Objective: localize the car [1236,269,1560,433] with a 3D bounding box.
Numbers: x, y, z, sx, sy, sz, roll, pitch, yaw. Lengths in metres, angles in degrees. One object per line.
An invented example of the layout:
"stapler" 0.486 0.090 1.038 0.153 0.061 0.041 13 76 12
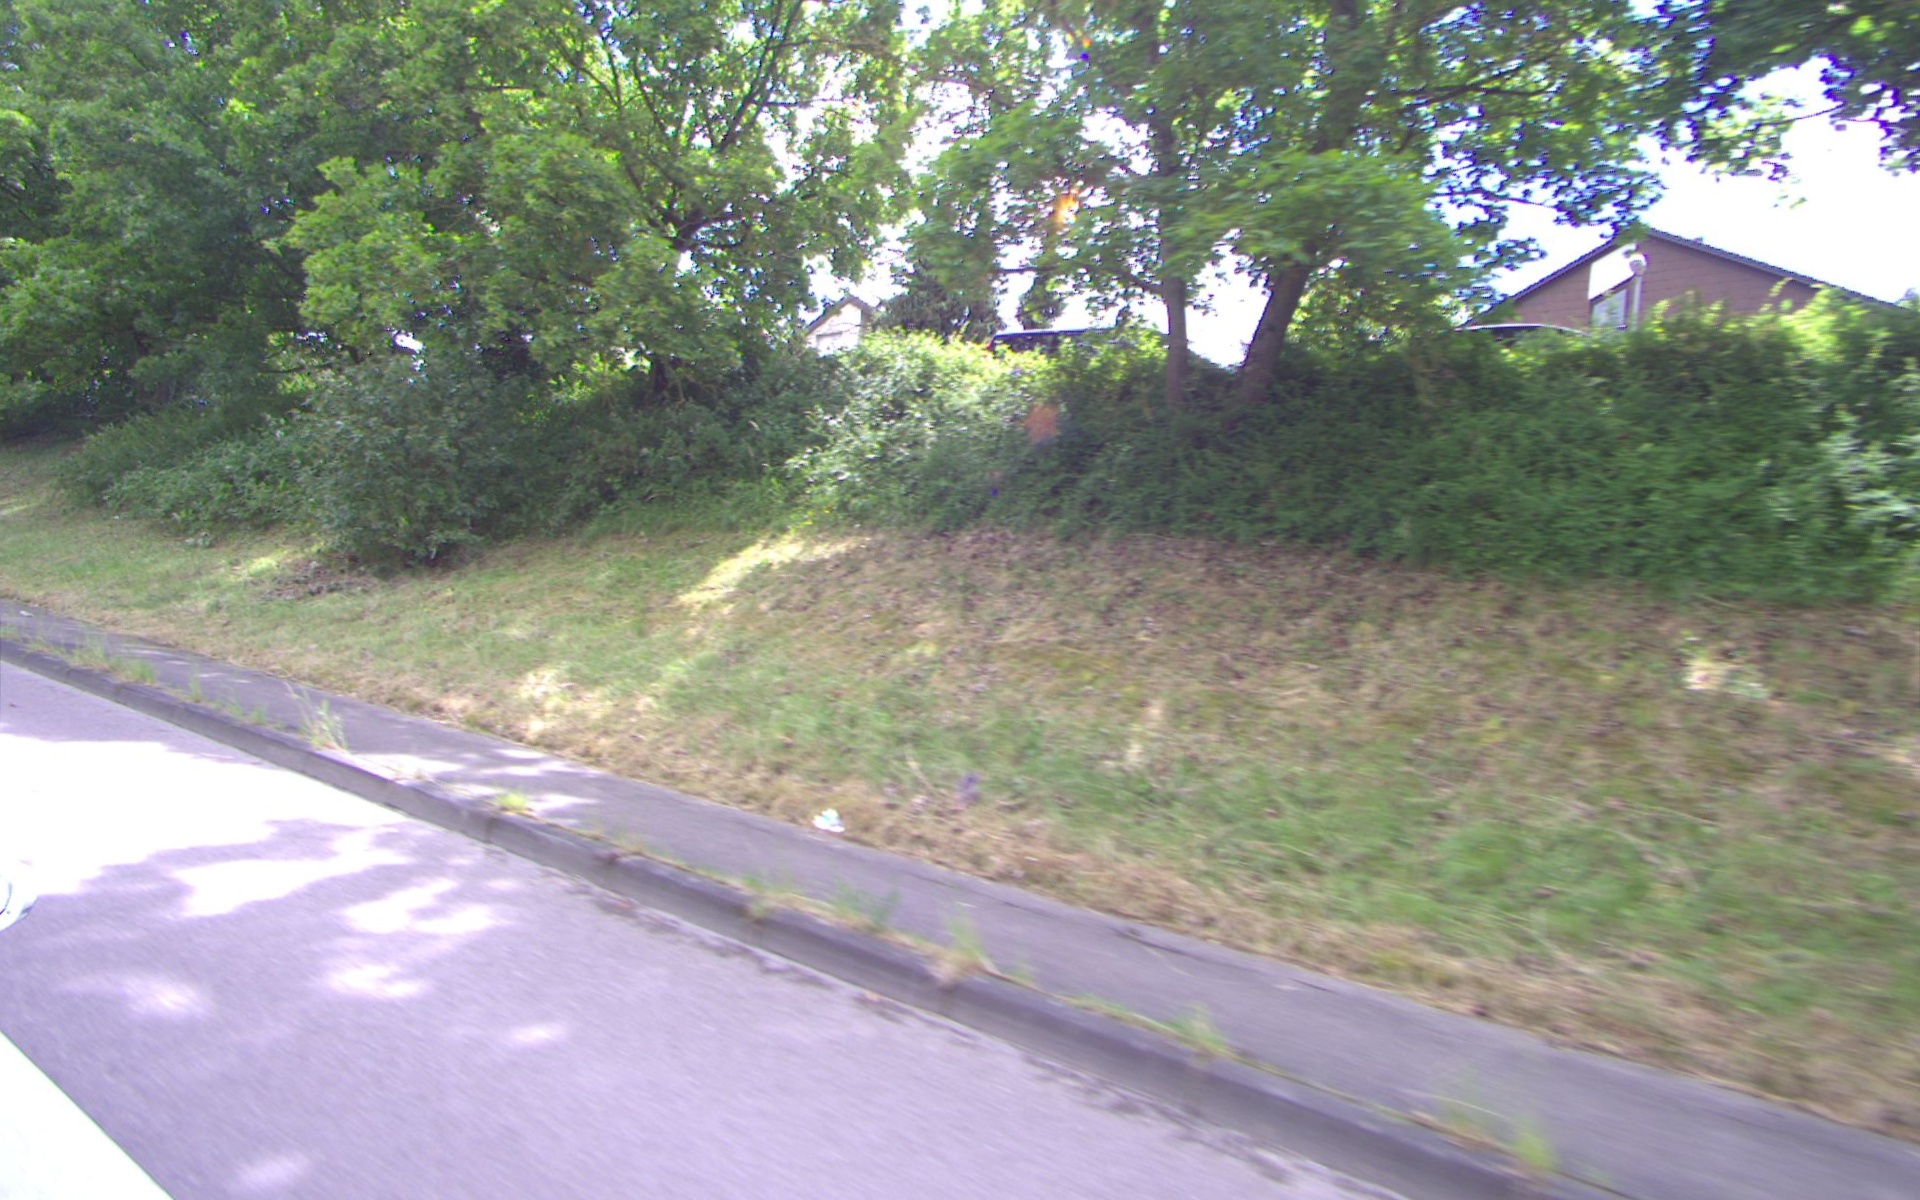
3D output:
"car" 6.300 -3.501 14.607 3.976 1.707 1.647 7 -2 32

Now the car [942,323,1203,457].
"car" 1.894 -3.550 17.315 3.976 1.707 1.647 7 -2 32
